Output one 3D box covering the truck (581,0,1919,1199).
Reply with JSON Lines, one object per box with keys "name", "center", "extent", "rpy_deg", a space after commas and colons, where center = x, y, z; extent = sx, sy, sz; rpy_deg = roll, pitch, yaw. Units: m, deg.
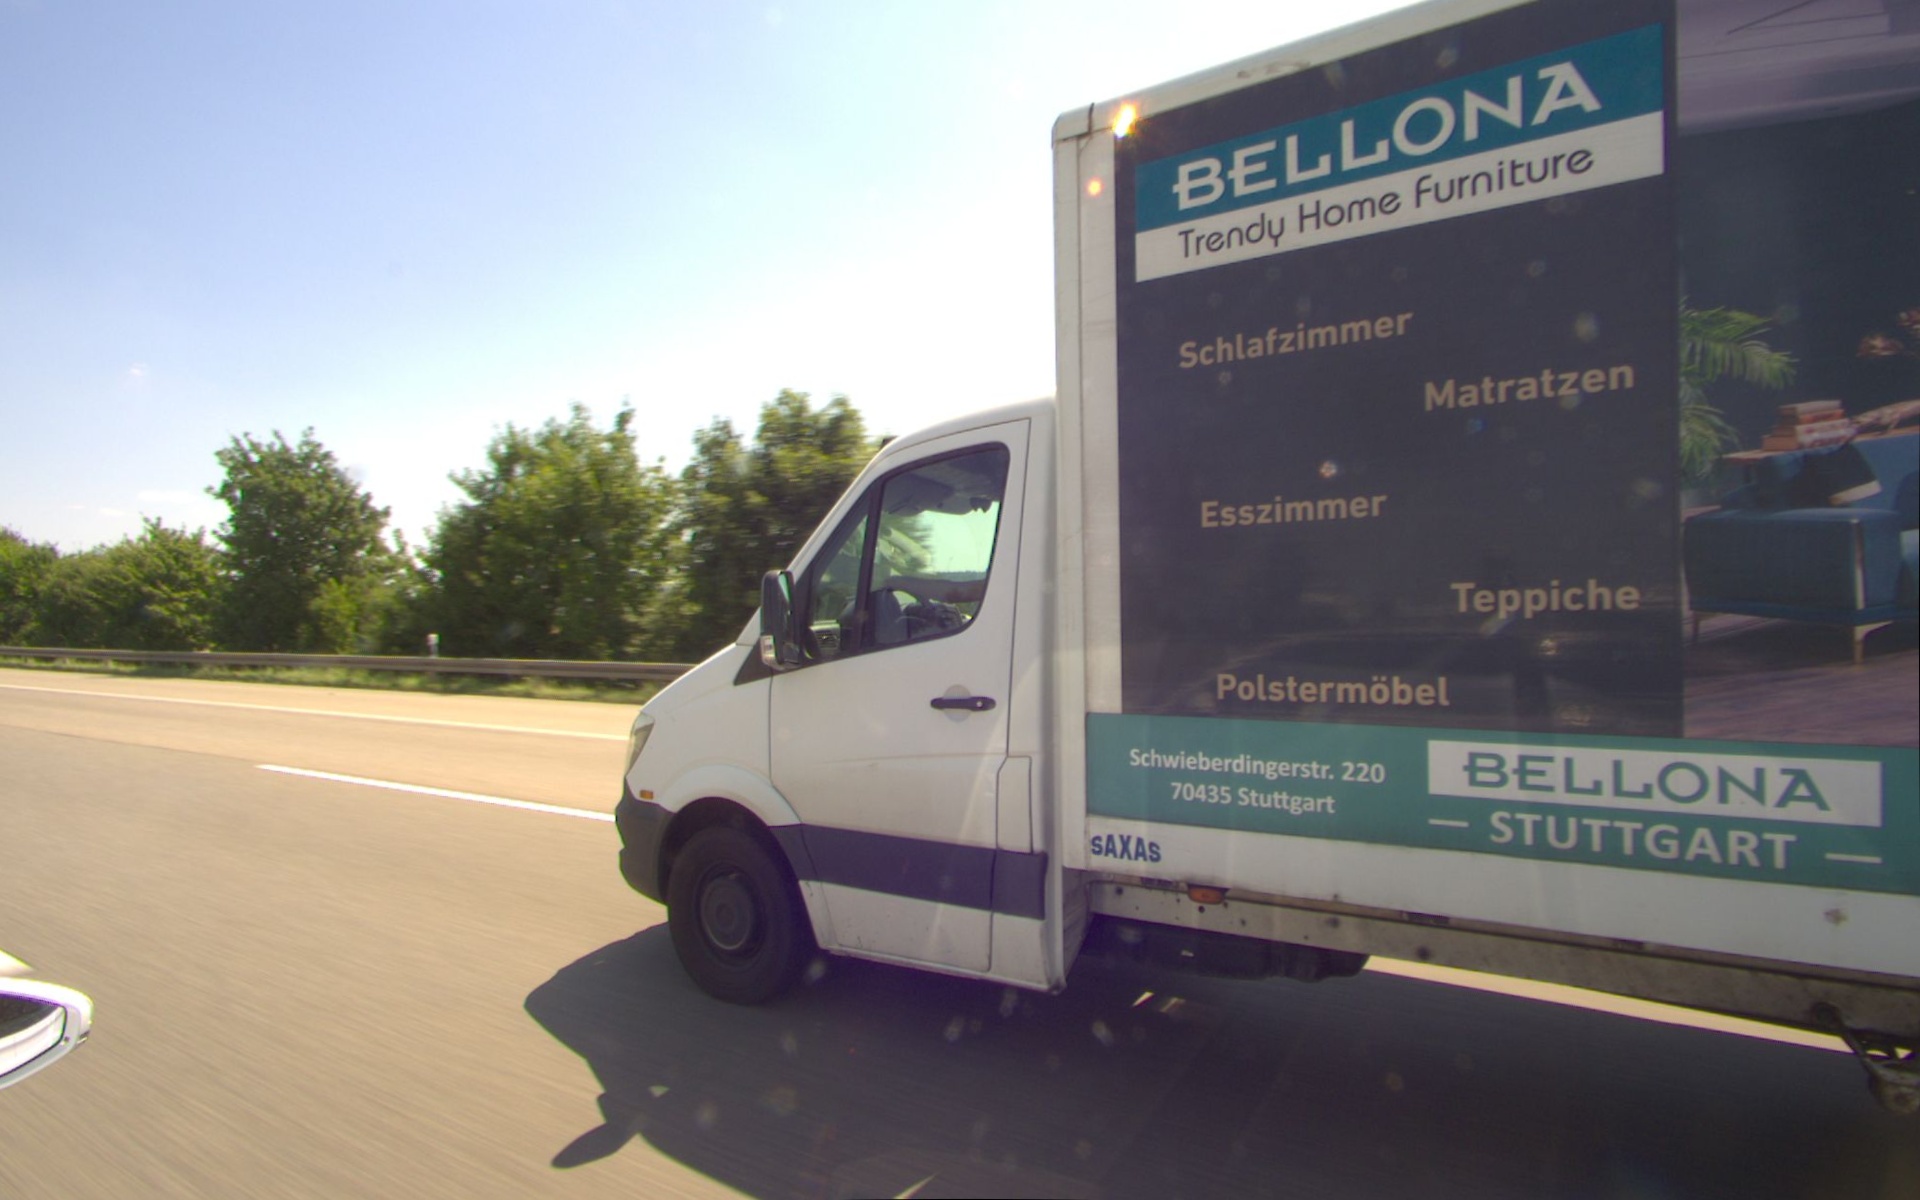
{"name": "truck", "center": [1.881, -0.039, 3.291], "extent": [6.654, 3.107, 2.317], "rpy_deg": [-1, -1, 32]}
